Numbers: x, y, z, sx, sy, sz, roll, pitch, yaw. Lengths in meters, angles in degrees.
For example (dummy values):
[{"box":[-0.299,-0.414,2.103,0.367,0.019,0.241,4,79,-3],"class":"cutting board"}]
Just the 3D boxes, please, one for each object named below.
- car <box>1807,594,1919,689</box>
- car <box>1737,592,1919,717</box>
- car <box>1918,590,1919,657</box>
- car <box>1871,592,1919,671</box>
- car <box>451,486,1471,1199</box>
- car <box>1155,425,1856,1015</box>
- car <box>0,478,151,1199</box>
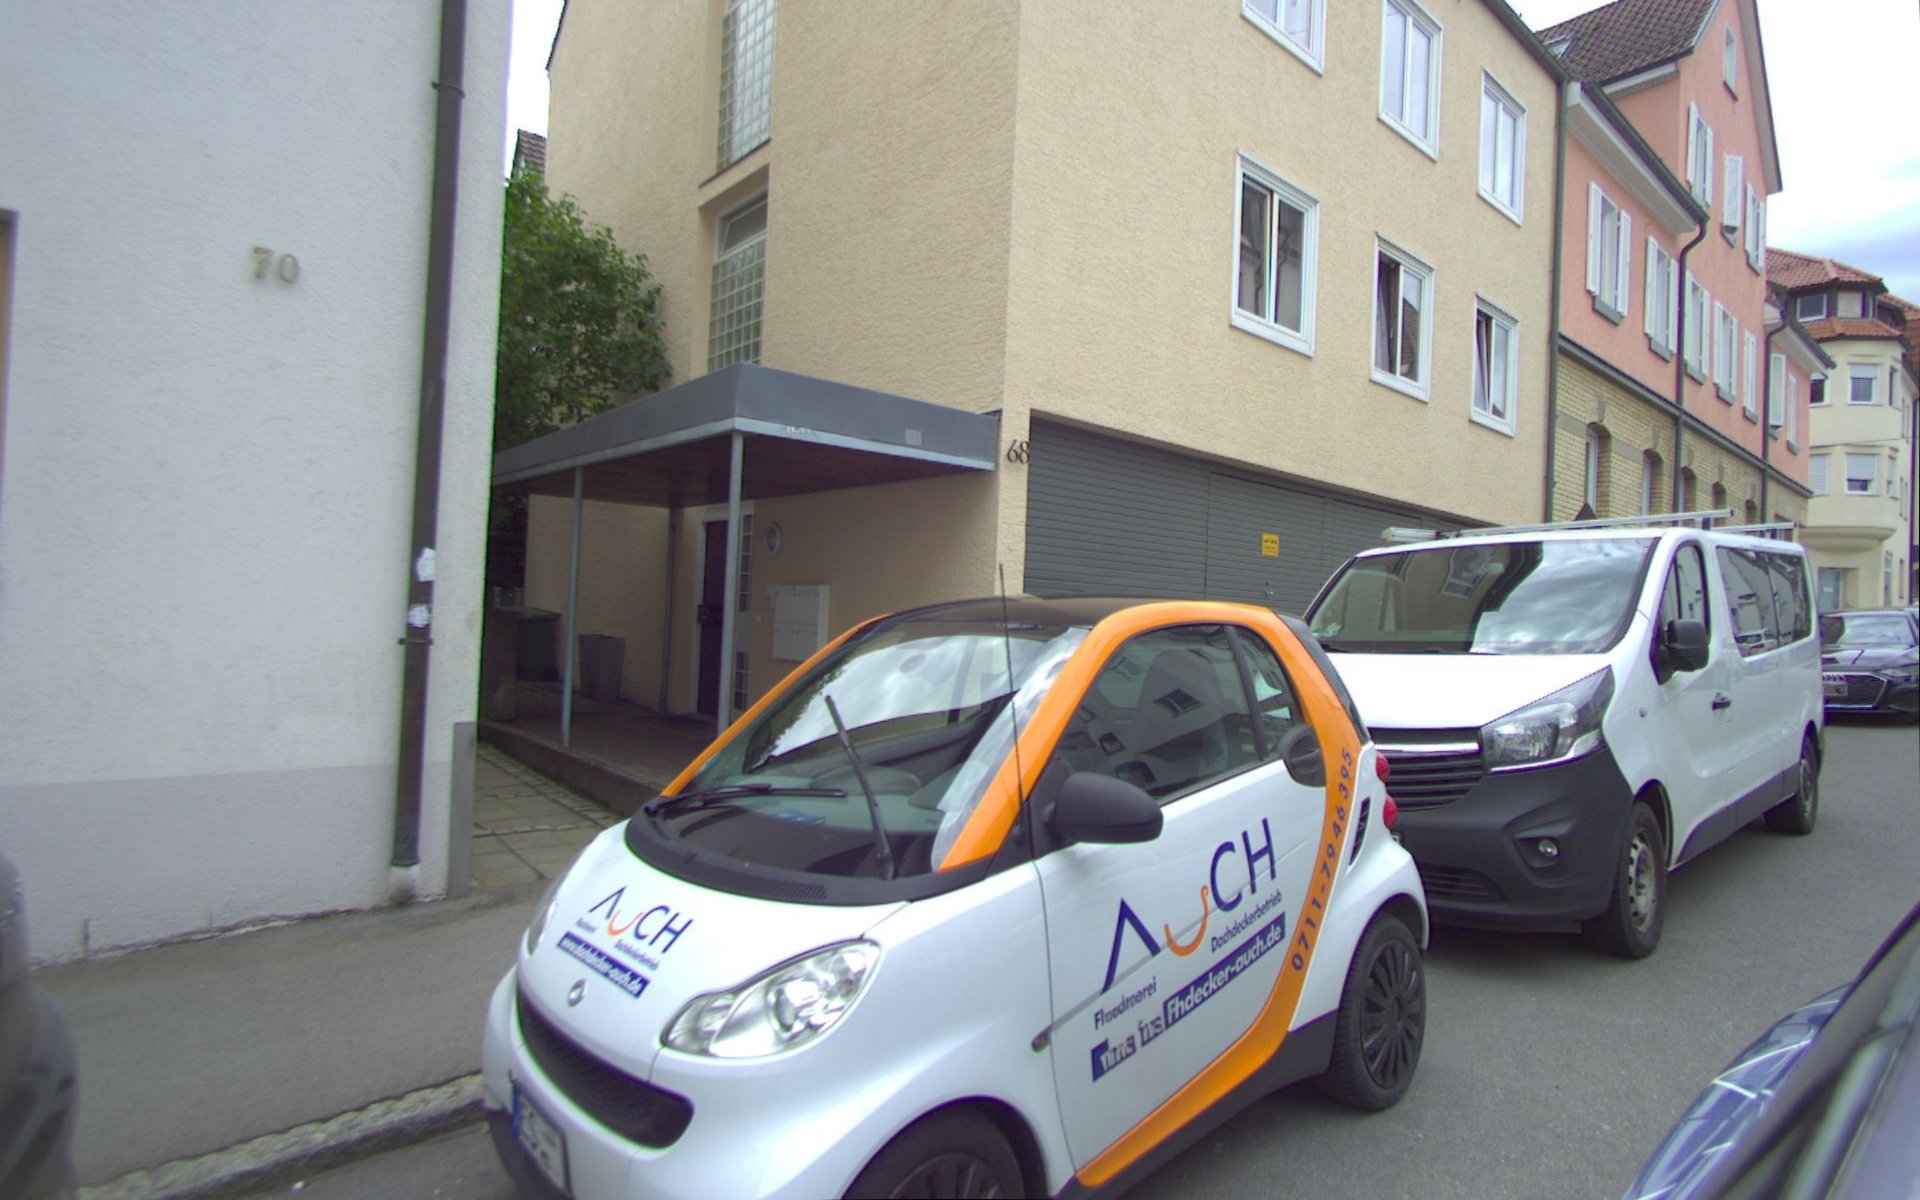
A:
[{"box":[15.382,0.629,16.633,3.901,1.421,1.853,1,-1,-44],"class":"car"},{"box":[12.116,0.656,13.613,4.497,1.422,1.854,0,-3,-43],"class":"car"},{"box":[23.444,0.552,23.349,3.563,1.498,1.670,0,1,-42],"class":"car"},{"box":[19.100,0.580,19.459,4.217,1.421,1.855,0,-1,-41],"class":"car"},{"box":[0.163,0.644,3.021,2.741,1.617,1.489,1,-1,-40],"class":"car"},{"box":[3.691,0.436,6.125,5.633,2.056,1.908,0,-1,-42],"class":"car"},{"box":[-3.040,0.686,0.183,4.422,1.617,1.715,0,-1,-43],"class":"car"}]
